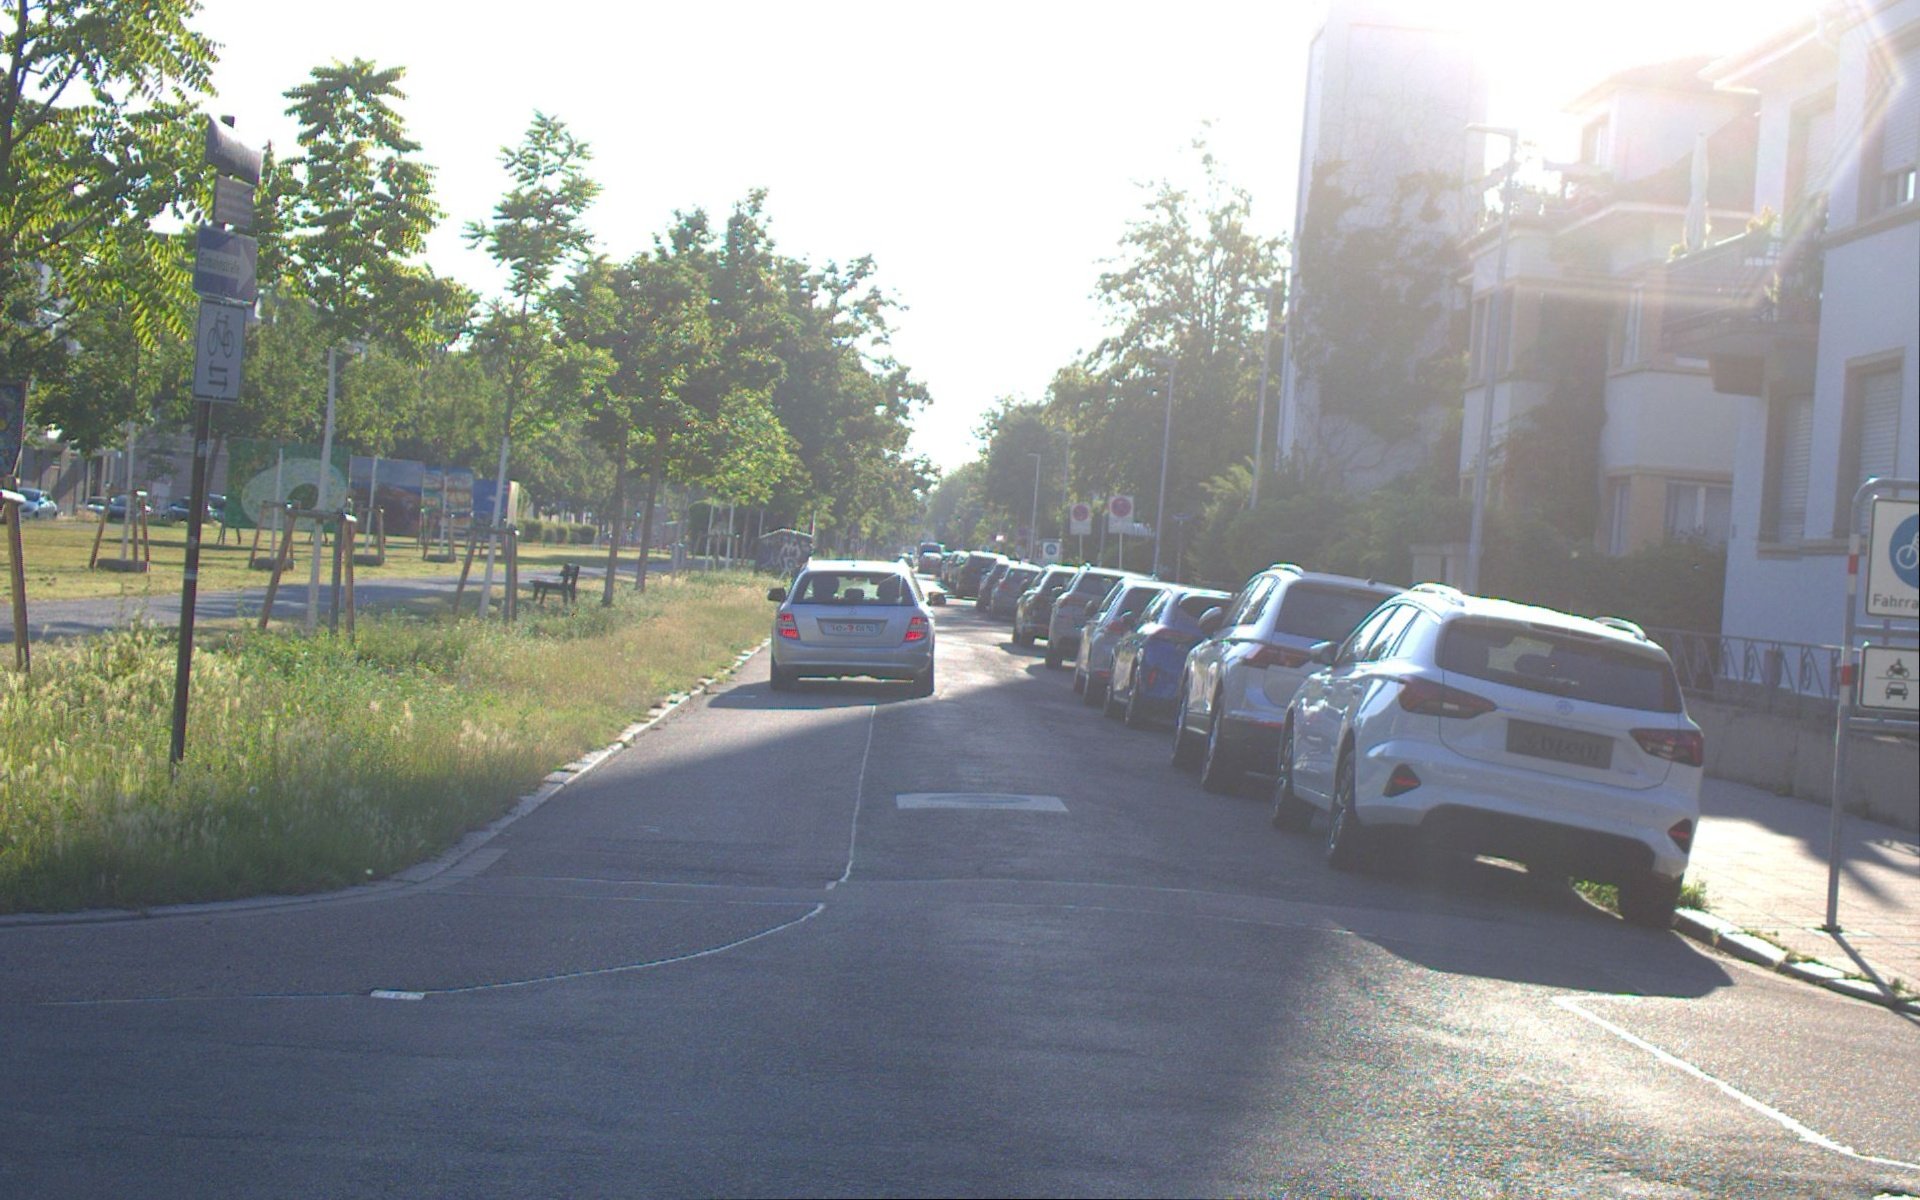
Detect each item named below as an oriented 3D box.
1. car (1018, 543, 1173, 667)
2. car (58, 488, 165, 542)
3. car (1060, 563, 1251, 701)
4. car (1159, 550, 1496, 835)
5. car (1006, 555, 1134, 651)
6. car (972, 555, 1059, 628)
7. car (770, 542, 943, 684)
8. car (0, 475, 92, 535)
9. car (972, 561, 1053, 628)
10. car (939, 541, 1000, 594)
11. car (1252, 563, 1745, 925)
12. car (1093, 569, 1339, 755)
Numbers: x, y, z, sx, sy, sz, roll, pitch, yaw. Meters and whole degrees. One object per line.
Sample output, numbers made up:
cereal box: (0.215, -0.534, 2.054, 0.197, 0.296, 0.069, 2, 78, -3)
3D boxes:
car: (1.904, 0.046, 49.343, 1.761, 1.516, 4.000, 6, 1, -2)
car: (-37.695, -3.739, 152.866, 3.160, 2.140, 6.110, 3, 0, 0)
car: (2.179, 0.331, 39.341, 1.760, 1.415, 4.000, 2, 1, -2)
car: (2.568, 0.593, 24.953, 1.685, 1.645, 4.100, 9, 1, -1)
car: (1.880, 0.032, 59.875, 1.993, 1.459, 4.000, 5, 1, 0)
car: (1.362, -0.233, 86.025, 1.993, 1.624, 4.000, 5, 1, 0)
car: (-1.157, 0.112, 38.020, 1.760, 1.415, 4.000, 2, 1, -2)
car: (-36.890, -3.758, 136.119, 3.160, 2.140, 6.893, 3, 0, 0)
car: (1.392, -0.166, 92.668, 1.993, 1.624, 4.000, 5, 1, 0)
car: (0.342, -1.140, 120.652, 1.980, 1.677, 4.000, 5, 1, 0)
car: (2.811, 0.681, 18.931, 1.758, 1.599, 4.359, 5, 1, -2)
car: (2.444, 0.557, 33.803, 1.761, 1.415, 4.000, 10, 0, -2)
